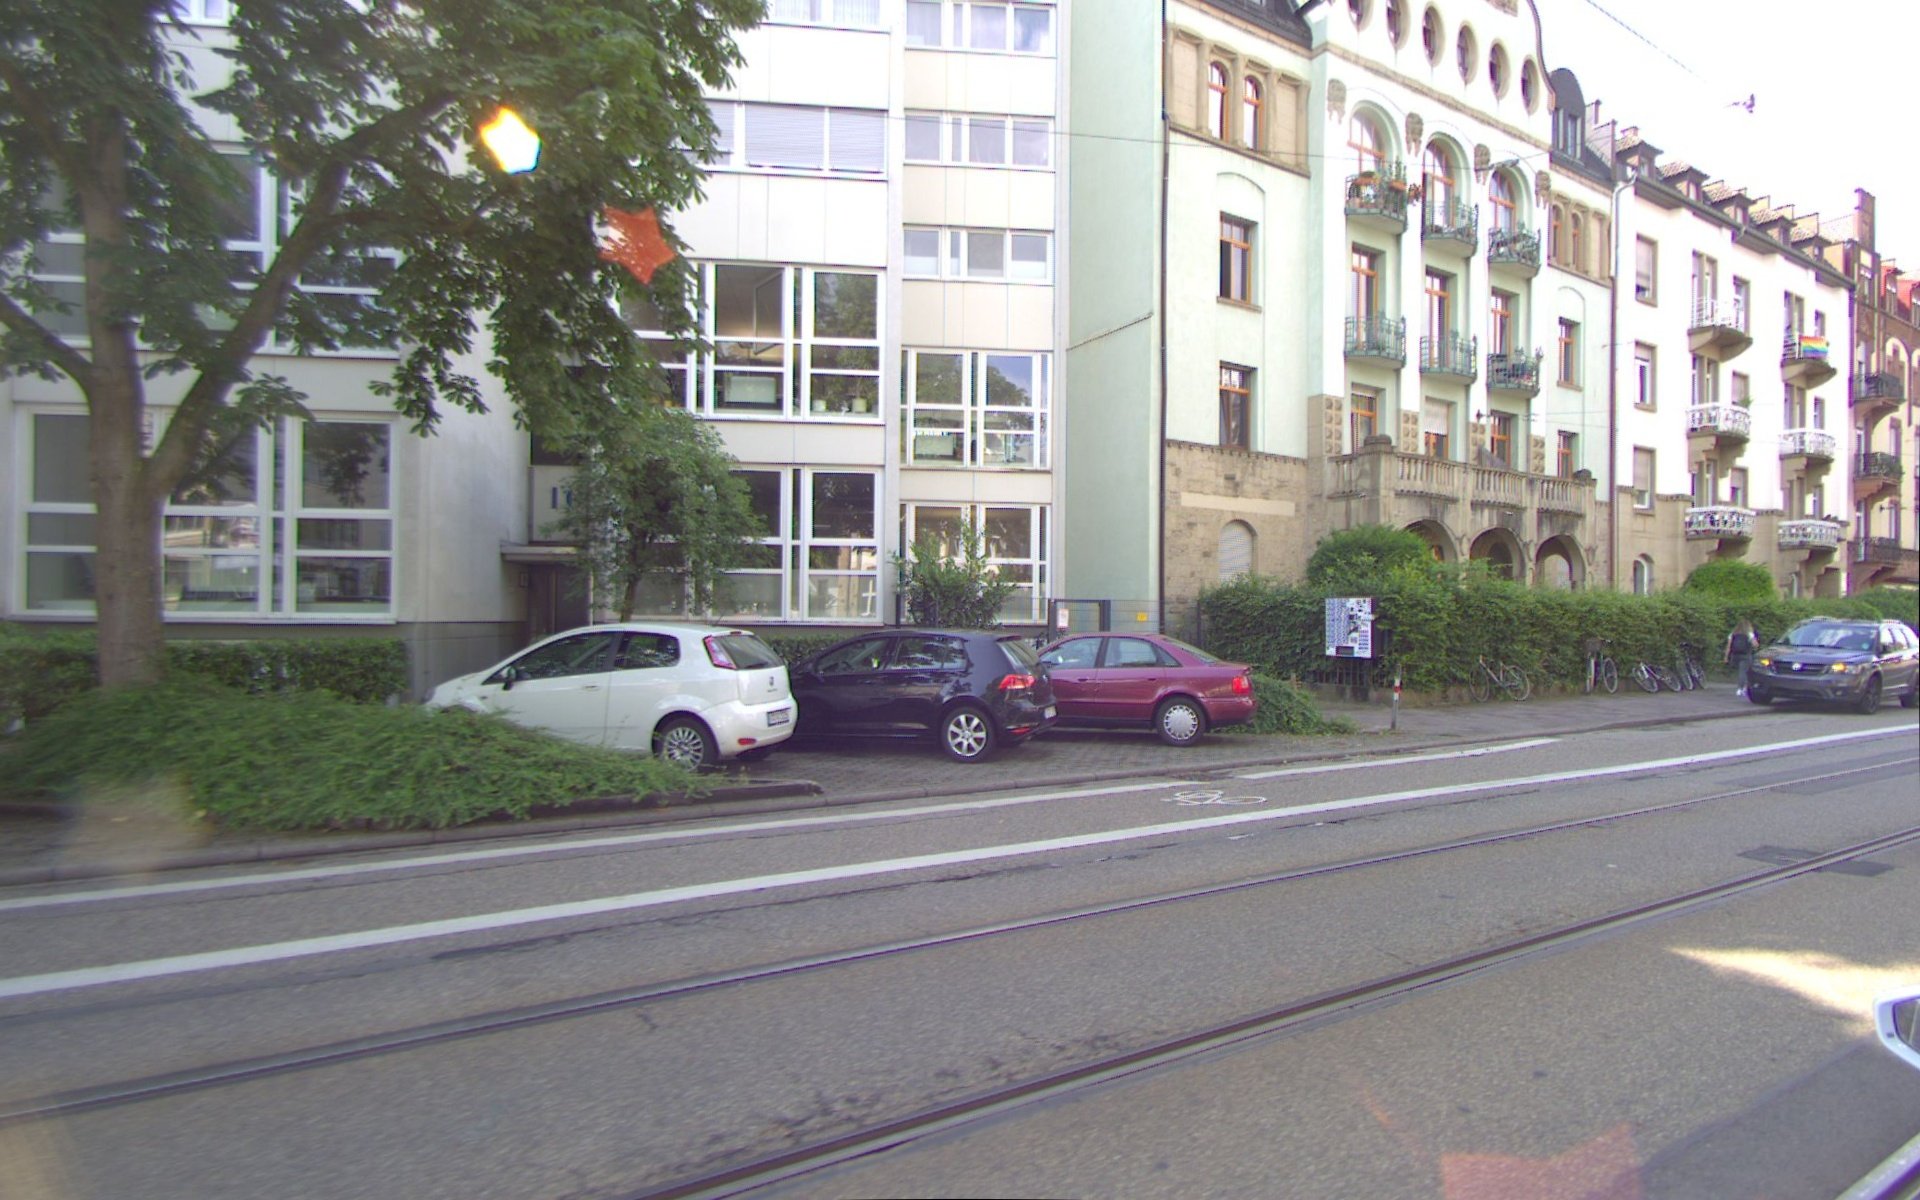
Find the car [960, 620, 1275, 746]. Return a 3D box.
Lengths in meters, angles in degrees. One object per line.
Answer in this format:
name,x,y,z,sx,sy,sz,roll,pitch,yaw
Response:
car,2.122,1.079,13.436,3.891,1.503,1.848,-1,-3,15

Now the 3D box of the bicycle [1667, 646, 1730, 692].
bicycle,16.466,1.519,22.379,1.898,0.972,0.381,1,1,-30

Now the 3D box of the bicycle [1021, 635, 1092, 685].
bicycle,2.232,1.366,23.159,1.791,1.079,0.380,1,1,-34

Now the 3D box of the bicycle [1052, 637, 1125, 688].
bicycle,2.863,1.370,22.331,1.791,1.079,0.380,1,1,-34

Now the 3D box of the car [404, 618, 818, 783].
car,-3.535,0.993,10.426,3.730,1.503,1.699,-1,-3,13

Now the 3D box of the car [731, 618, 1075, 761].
car,-0.651,1.027,11.999,3.732,1.503,1.698,-2,-3,19

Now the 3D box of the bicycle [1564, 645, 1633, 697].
bicycle,12.874,1.417,20.239,1.788,0.972,0.381,1,1,-30

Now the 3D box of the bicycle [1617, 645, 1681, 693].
bicycle,14.636,1.450,21.323,1.788,0.972,0.381,1,1,-30

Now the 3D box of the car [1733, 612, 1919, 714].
car,17.193,1.168,19.755,4.833,1.786,1.774,1,-1,-35

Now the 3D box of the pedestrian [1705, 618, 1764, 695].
pedestrian,16.629,1.195,21.574,0.871,1.589,0.677,1,1,-30

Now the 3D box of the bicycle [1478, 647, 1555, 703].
bicycle,10.325,1.376,18.620,1.788,0.972,0.381,1,1,-30
